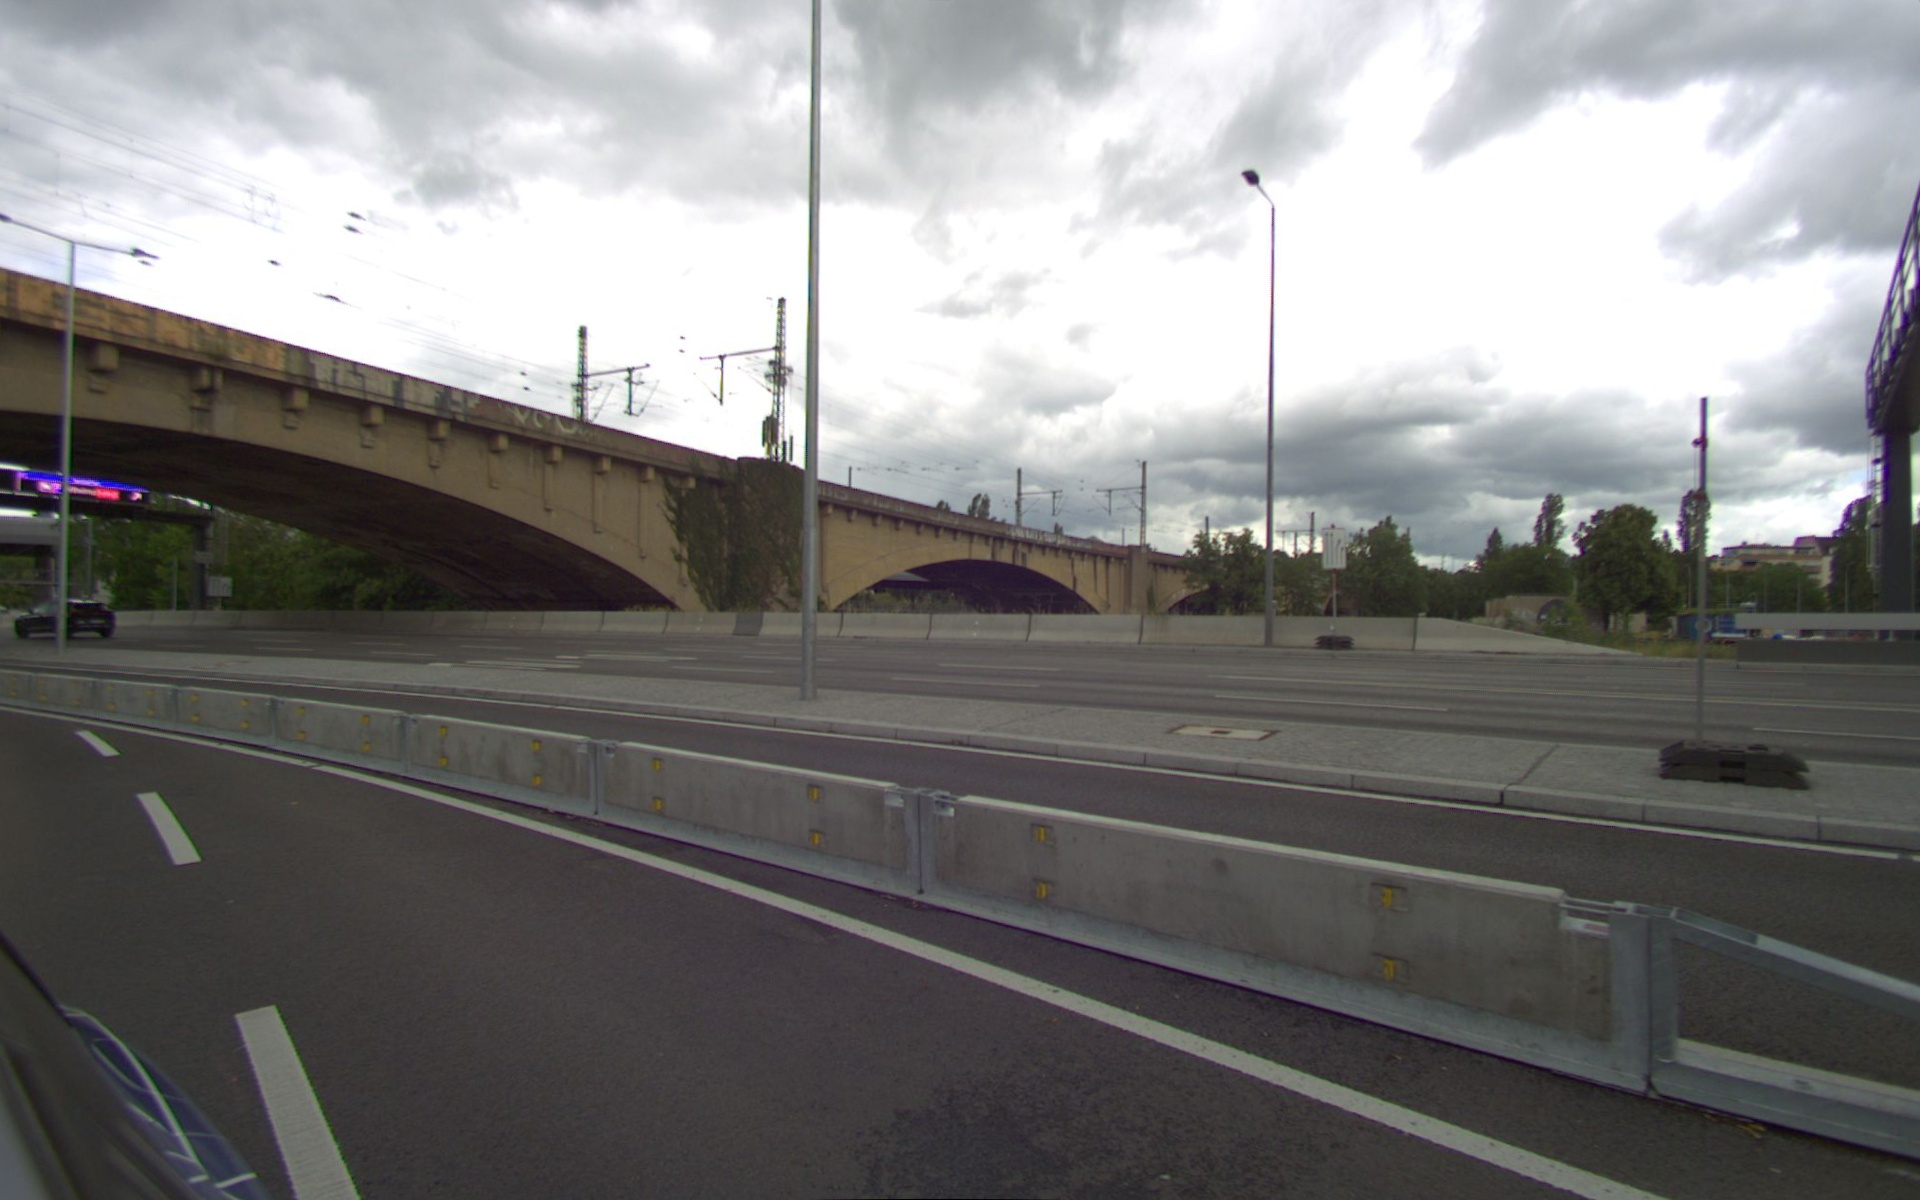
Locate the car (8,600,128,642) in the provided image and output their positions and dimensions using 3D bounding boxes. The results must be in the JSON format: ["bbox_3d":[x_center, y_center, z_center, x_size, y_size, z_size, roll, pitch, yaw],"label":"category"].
[{"bbox_3d":[-36.328,0.851,41.226,4.106,1.597,1.986,-2,0,21],"label":"car"}]
